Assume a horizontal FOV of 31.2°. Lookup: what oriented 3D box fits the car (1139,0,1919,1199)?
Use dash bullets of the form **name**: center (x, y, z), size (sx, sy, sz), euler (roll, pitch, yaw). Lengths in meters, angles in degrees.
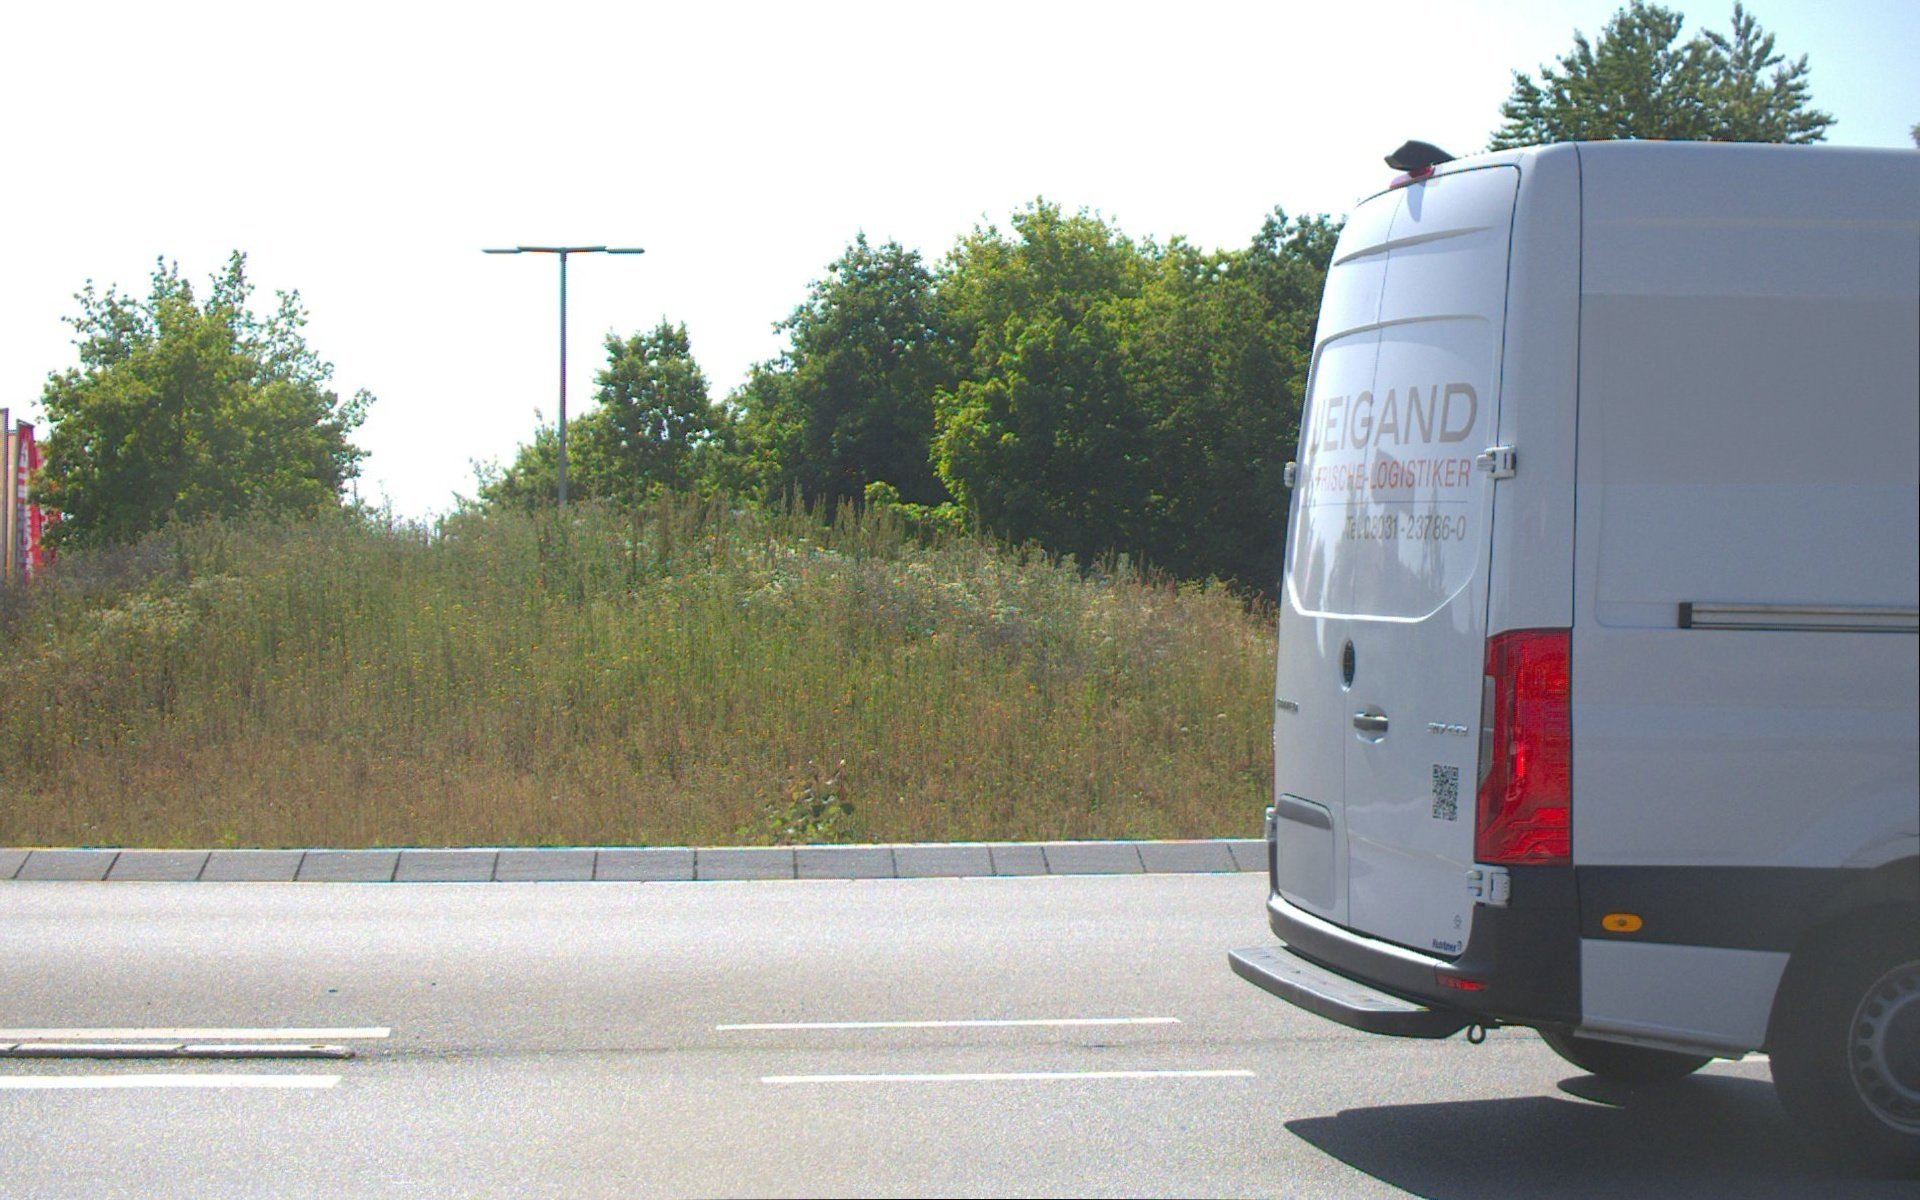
- **car**: center (3.733, -0.025, 9.681), size (6.117, 2.911, 2.085), euler (0, 0, -11)
